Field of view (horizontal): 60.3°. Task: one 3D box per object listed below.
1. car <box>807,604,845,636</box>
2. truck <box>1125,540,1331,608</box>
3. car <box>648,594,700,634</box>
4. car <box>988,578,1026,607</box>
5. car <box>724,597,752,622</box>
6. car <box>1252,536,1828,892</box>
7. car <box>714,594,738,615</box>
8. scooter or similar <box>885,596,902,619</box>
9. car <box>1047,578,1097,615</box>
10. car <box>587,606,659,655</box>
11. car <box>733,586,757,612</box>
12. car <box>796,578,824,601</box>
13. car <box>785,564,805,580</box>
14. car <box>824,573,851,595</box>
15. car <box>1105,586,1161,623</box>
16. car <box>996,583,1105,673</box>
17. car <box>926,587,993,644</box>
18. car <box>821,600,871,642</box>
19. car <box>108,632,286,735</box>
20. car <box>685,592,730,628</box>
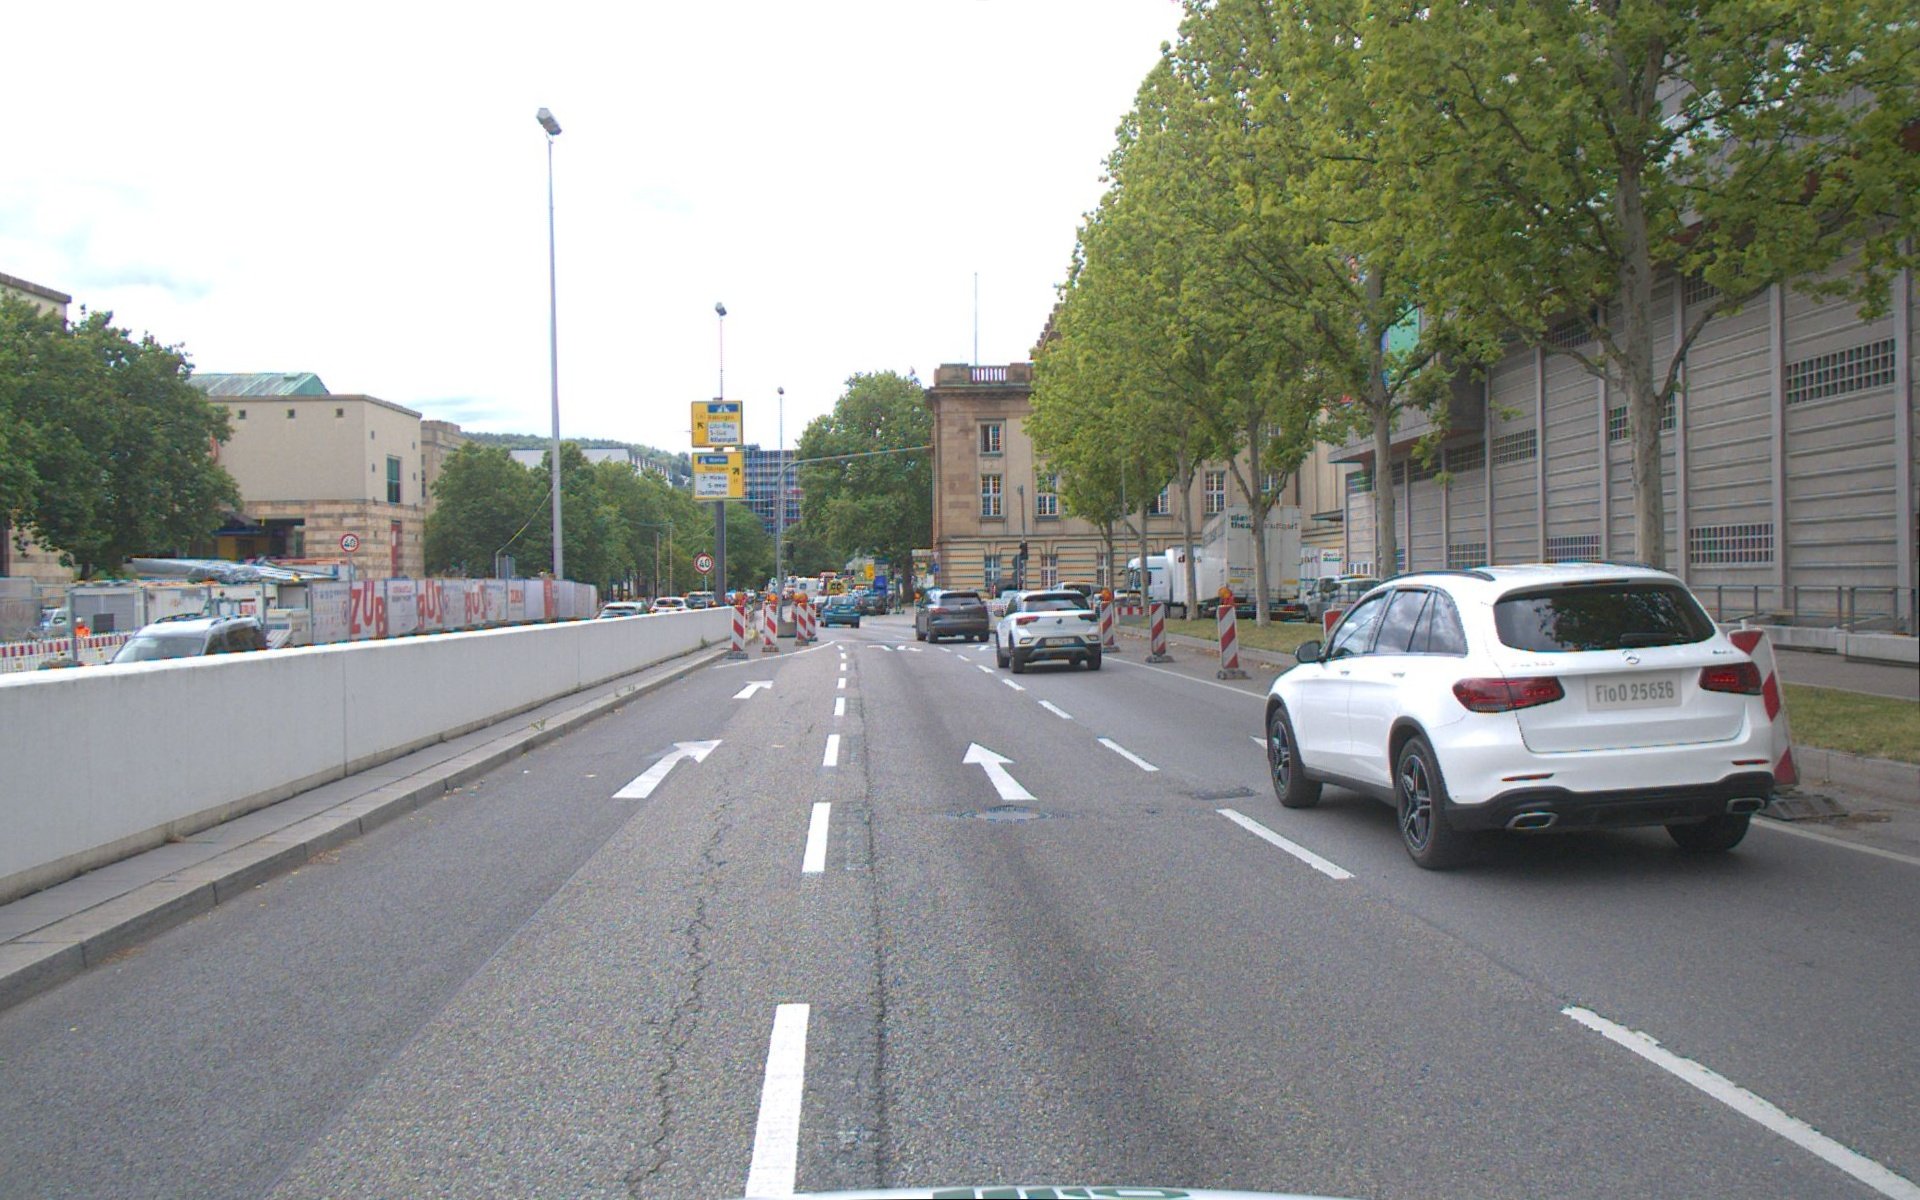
[{"bbox_3d":[-8.034,1.222,99.487,1.786,1.771,4.480,-2,-2,1],"label":"car"},{"bbox_3d":[13.367,-1.293,82.822,9.829,3.104,2.567,-1,-1,-3],"label":"truck"},{"bbox_3d":[-11.915,0.561,69.052,1.715,1.595,3.375,0,0,-2],"label":"car"},{"bbox_3d":[2.653,-0.399,94.940,1.819,1.595,4.328,-1,0,-3],"label":"car"},{"bbox_3d":[-14.748,0.643,110.018,1.717,1.595,4.325,-1,0,-6],"label":"car"},{"bbox_3d":[3.324,0.571,10.577,1.776,1.671,4.548,-3,0,-4],"label":"car"},{"bbox_3d":[-18.108,0.324,128.129,1.717,1.595,4.326,-1,0,-6],"label":"car"},{"bbox_3d":[-4.177,0.486,104.157,0.992,1.368,1.444,-1,-2,-1],"label":"scooter or similar"},{"bbox_3d":[5.025,-0.137,74.609,1.716,1.595,4.328,-1,0,-3],"label":"car"},{"bbox_3d":[-11.512,1.016,56.704,1.715,1.595,4.329,-1,0,-2],"label":"car"},{"bbox_3d":[-18.705,-0.115,144.070,1.955,2.048,3.995,-1,2,-6],"label":"car"},{"bbox_3d":[-16.790,-1.222,185.498,2.529,2.415,5.527,-2,1,1],"label":"car"},{"bbox_3d":[-25.837,-4.436,259.412,2.529,2.415,5.527,-2,1,1],"label":"car"},{"bbox_3d":[-13.872,-1.813,187.207,2.529,2.415,5.527,-2,1,1],"label":"car"},{"bbox_3d":[7.735,0.230,74.322,1.819,1.595,4.328,-1,0,-3],"label":"car"},{"bbox_3d":[1.751,0.512,33.428,1.716,1.595,4.329,-3,0,-2],"label":"car"},{"bbox_3d":[-0.064,0.459,53.462,1.788,1.594,4.476,-4,1,-4],"label":"car"},{"bbox_3d":[-5.250,0.939,76.543,1.785,1.771,4.481,-2,1,2],"label":"car"},{"bbox_3d":[-13.915,1.479,30.353,1.716,1.595,3.375,-3,0,-2],"label":"car"},{"bbox_3d":[-12.374,0.481,81.278,1.716,1.595,3.375,-3,0,-2],"label":"car"}]
